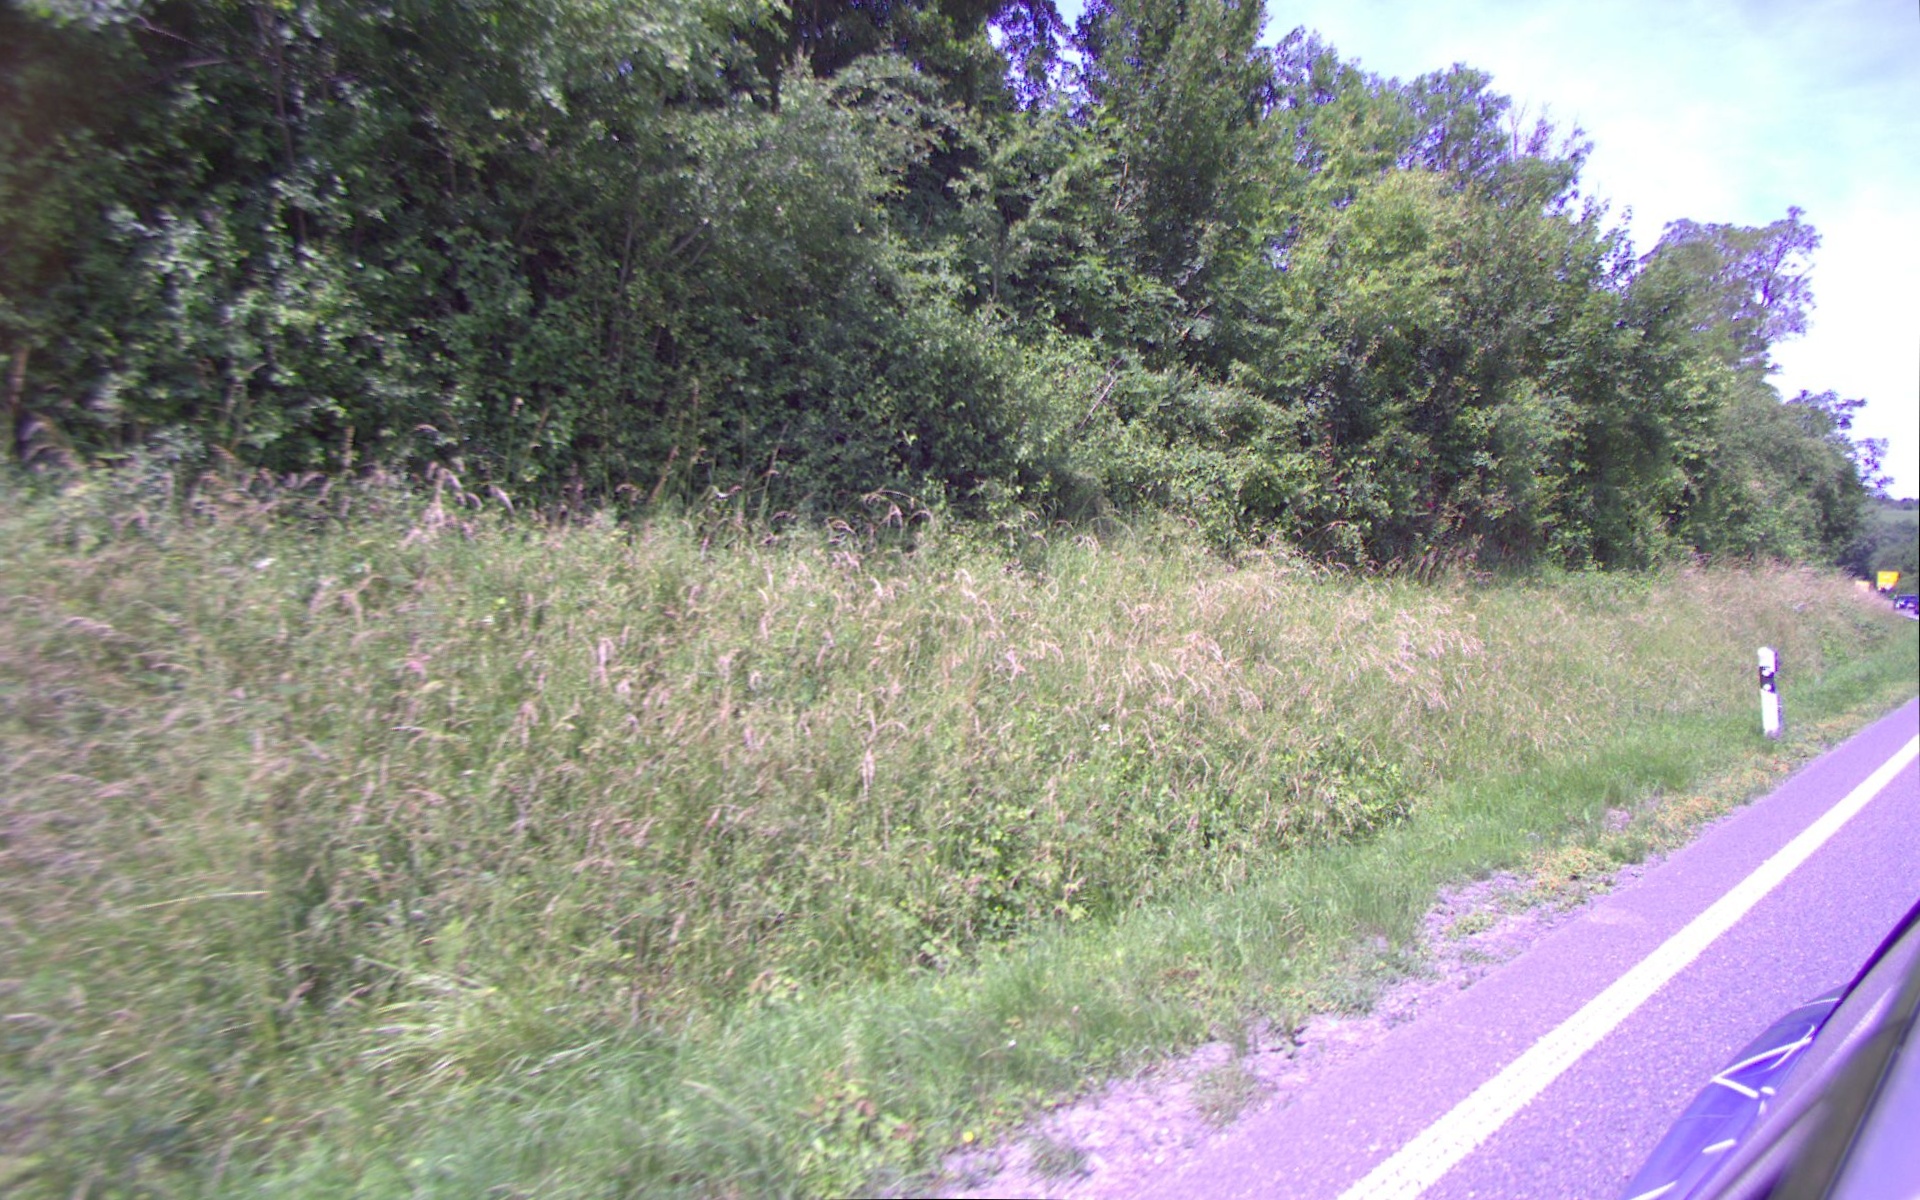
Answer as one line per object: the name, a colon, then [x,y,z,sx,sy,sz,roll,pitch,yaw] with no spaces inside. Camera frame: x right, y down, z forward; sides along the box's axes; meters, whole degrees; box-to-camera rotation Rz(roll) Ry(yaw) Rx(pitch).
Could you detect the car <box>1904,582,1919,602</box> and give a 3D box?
car: [86.682,-0.686,91.409,1.659,1.670,3.944,6,4,39]
